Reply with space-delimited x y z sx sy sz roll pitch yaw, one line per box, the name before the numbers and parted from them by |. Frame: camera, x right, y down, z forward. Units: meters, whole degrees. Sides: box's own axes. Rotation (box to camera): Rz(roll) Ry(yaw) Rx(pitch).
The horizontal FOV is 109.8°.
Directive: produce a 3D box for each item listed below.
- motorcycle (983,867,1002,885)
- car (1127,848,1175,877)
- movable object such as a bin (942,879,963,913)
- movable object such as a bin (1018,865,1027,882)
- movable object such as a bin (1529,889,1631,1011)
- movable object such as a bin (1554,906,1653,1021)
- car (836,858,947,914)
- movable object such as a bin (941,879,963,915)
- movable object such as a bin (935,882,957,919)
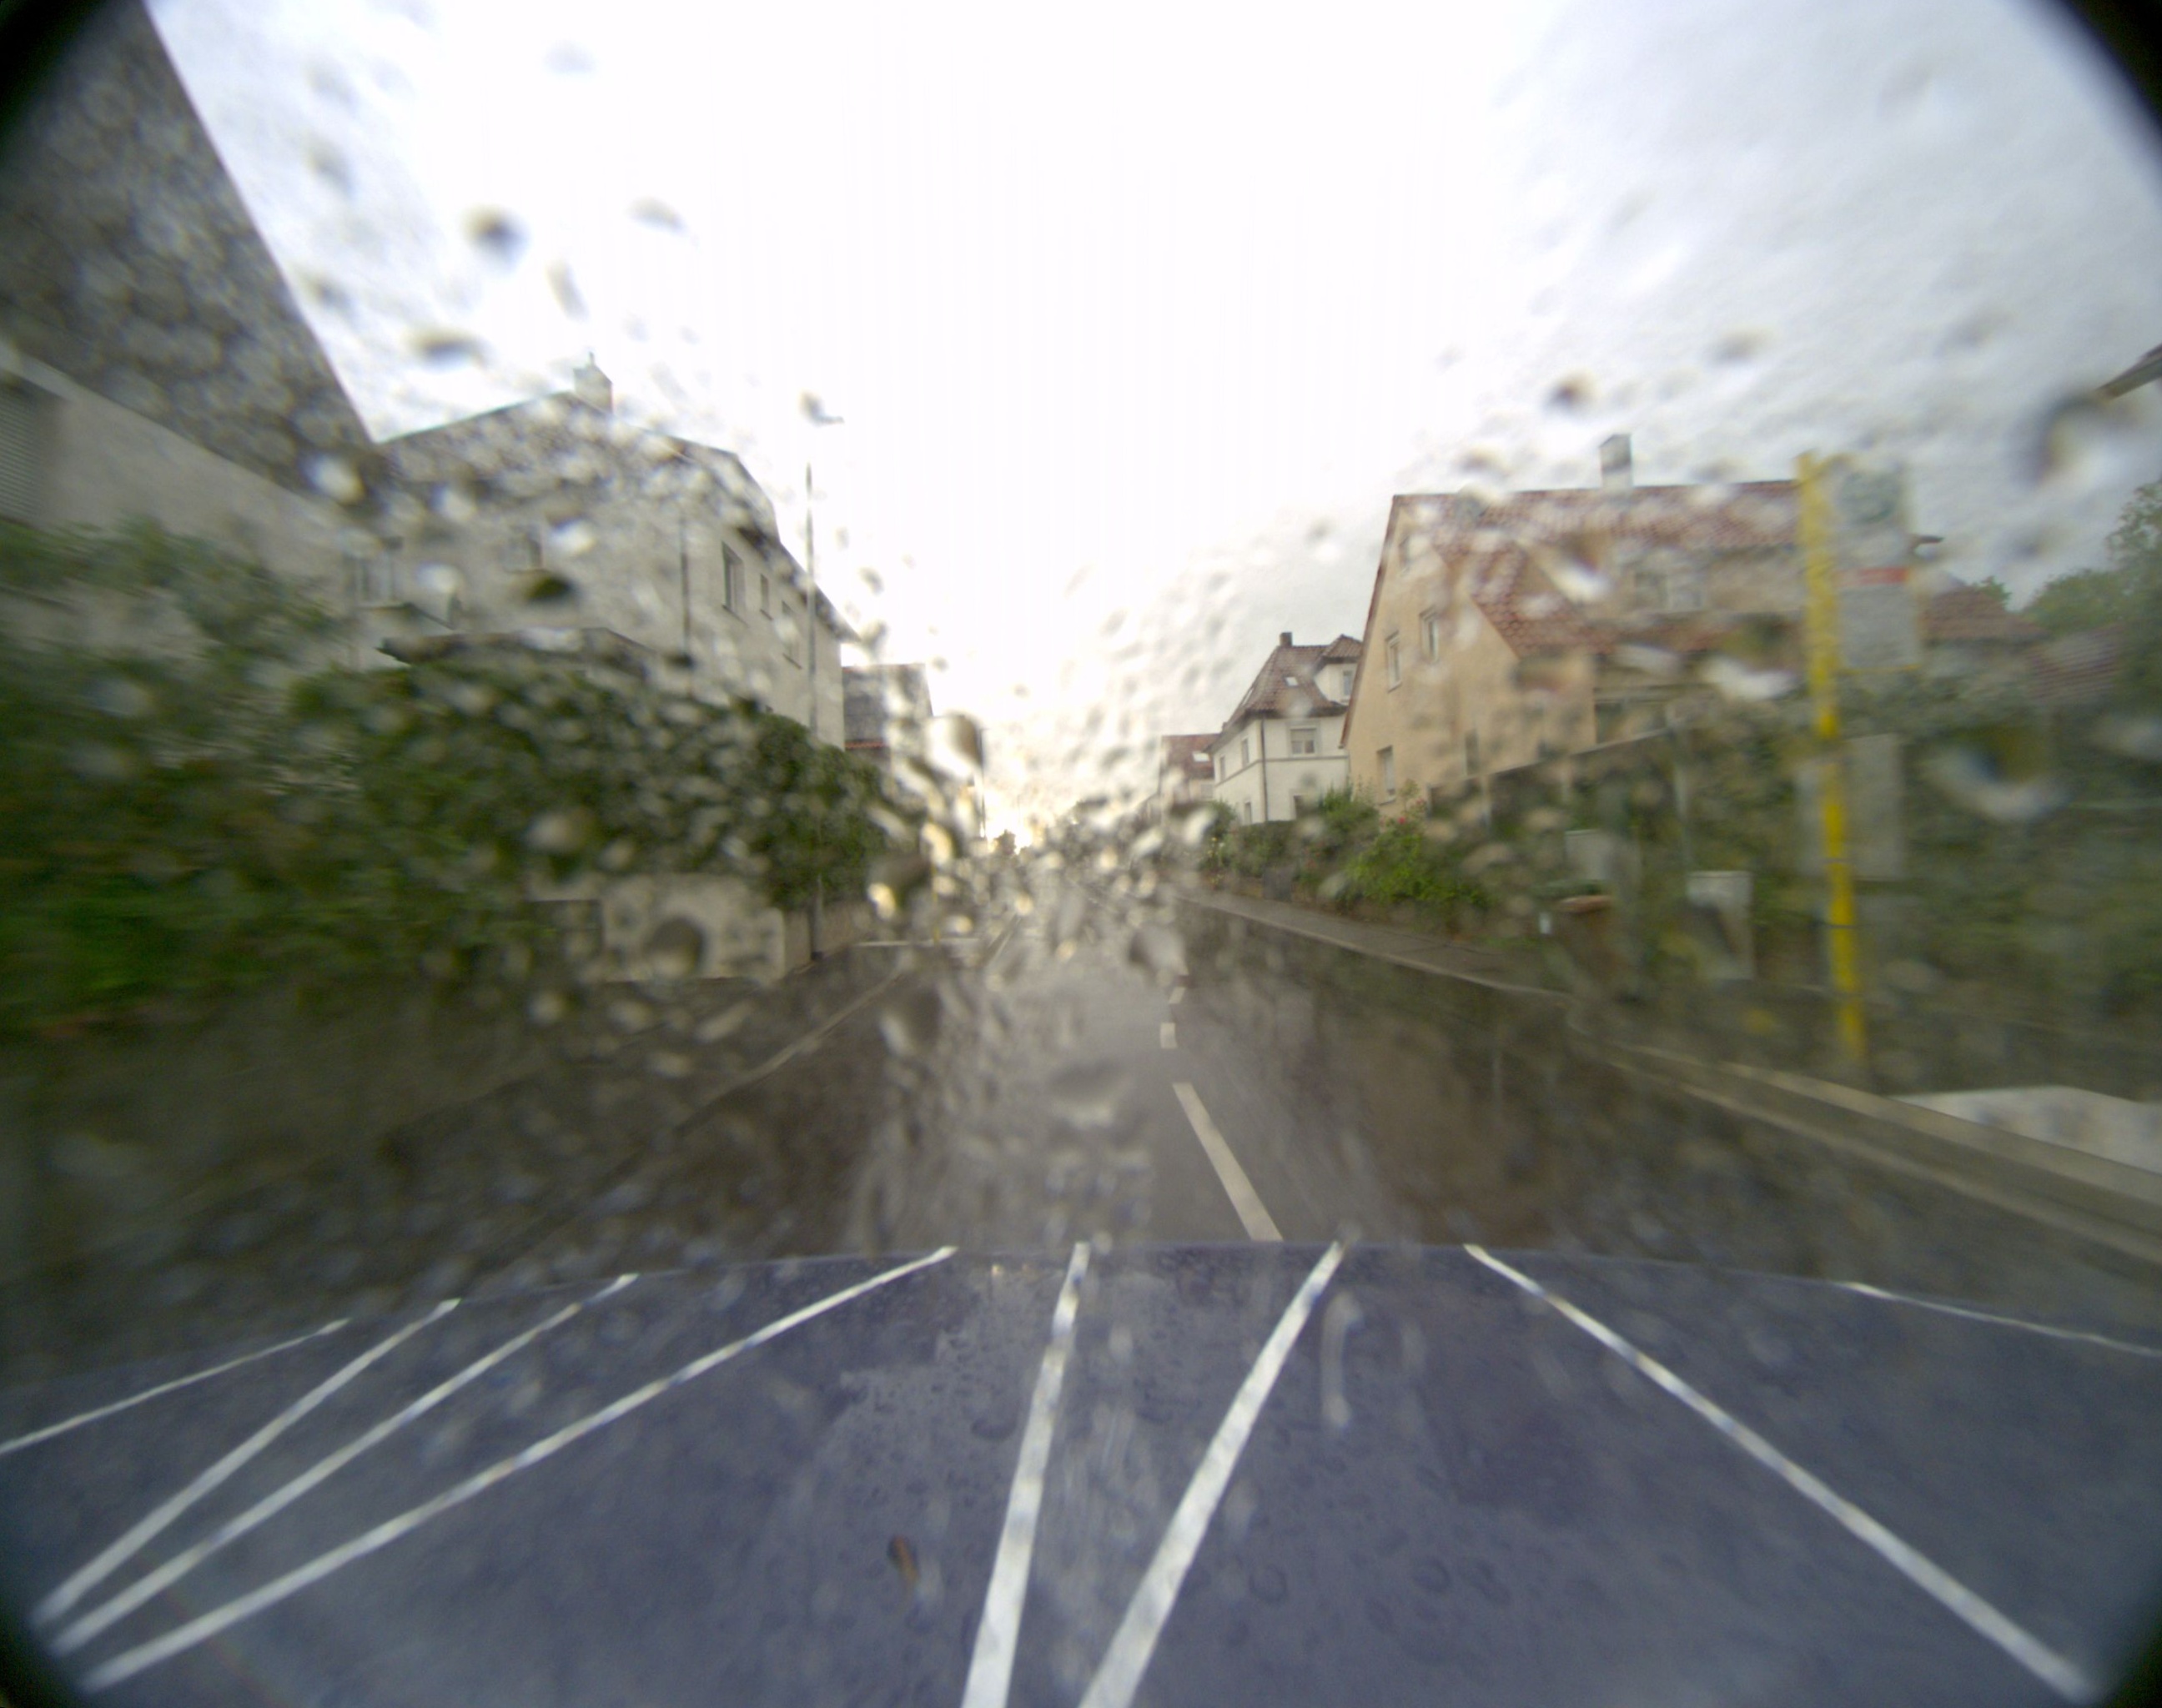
motorcycle | -5.343 1.312 45.736 0.557 1.007 1.147 -2 1 -41
car | 6.524 0.783 71.130 3.999 1.963 1.873 10 -1 -5
movable object such as a bin | -4.122 1.349 24.461 0.569 1.070 0.537 -2 0 -4
movable object such as a bin | -3.976 1.325 51.539 0.569 1.179 0.537 -1 0 -4
movable object such as a bin | 4.834 0.914 7.393 0.554 1.076 0.527 -6 0 1
movable object such as a bin | 4.651 0.959 6.784 0.469 0.933 0.454 -6 -2 1
car | -6.778 1.116 27.376 3.454 1.473 1.580 -8 0 -2
movable object such as a bin | -4.050 1.353 23.856 0.569 1.070 0.537 -2 0 -4
movable object such as a bin | -4.090 1.407 23.032 0.569 1.070 0.523 -2 0 -4
